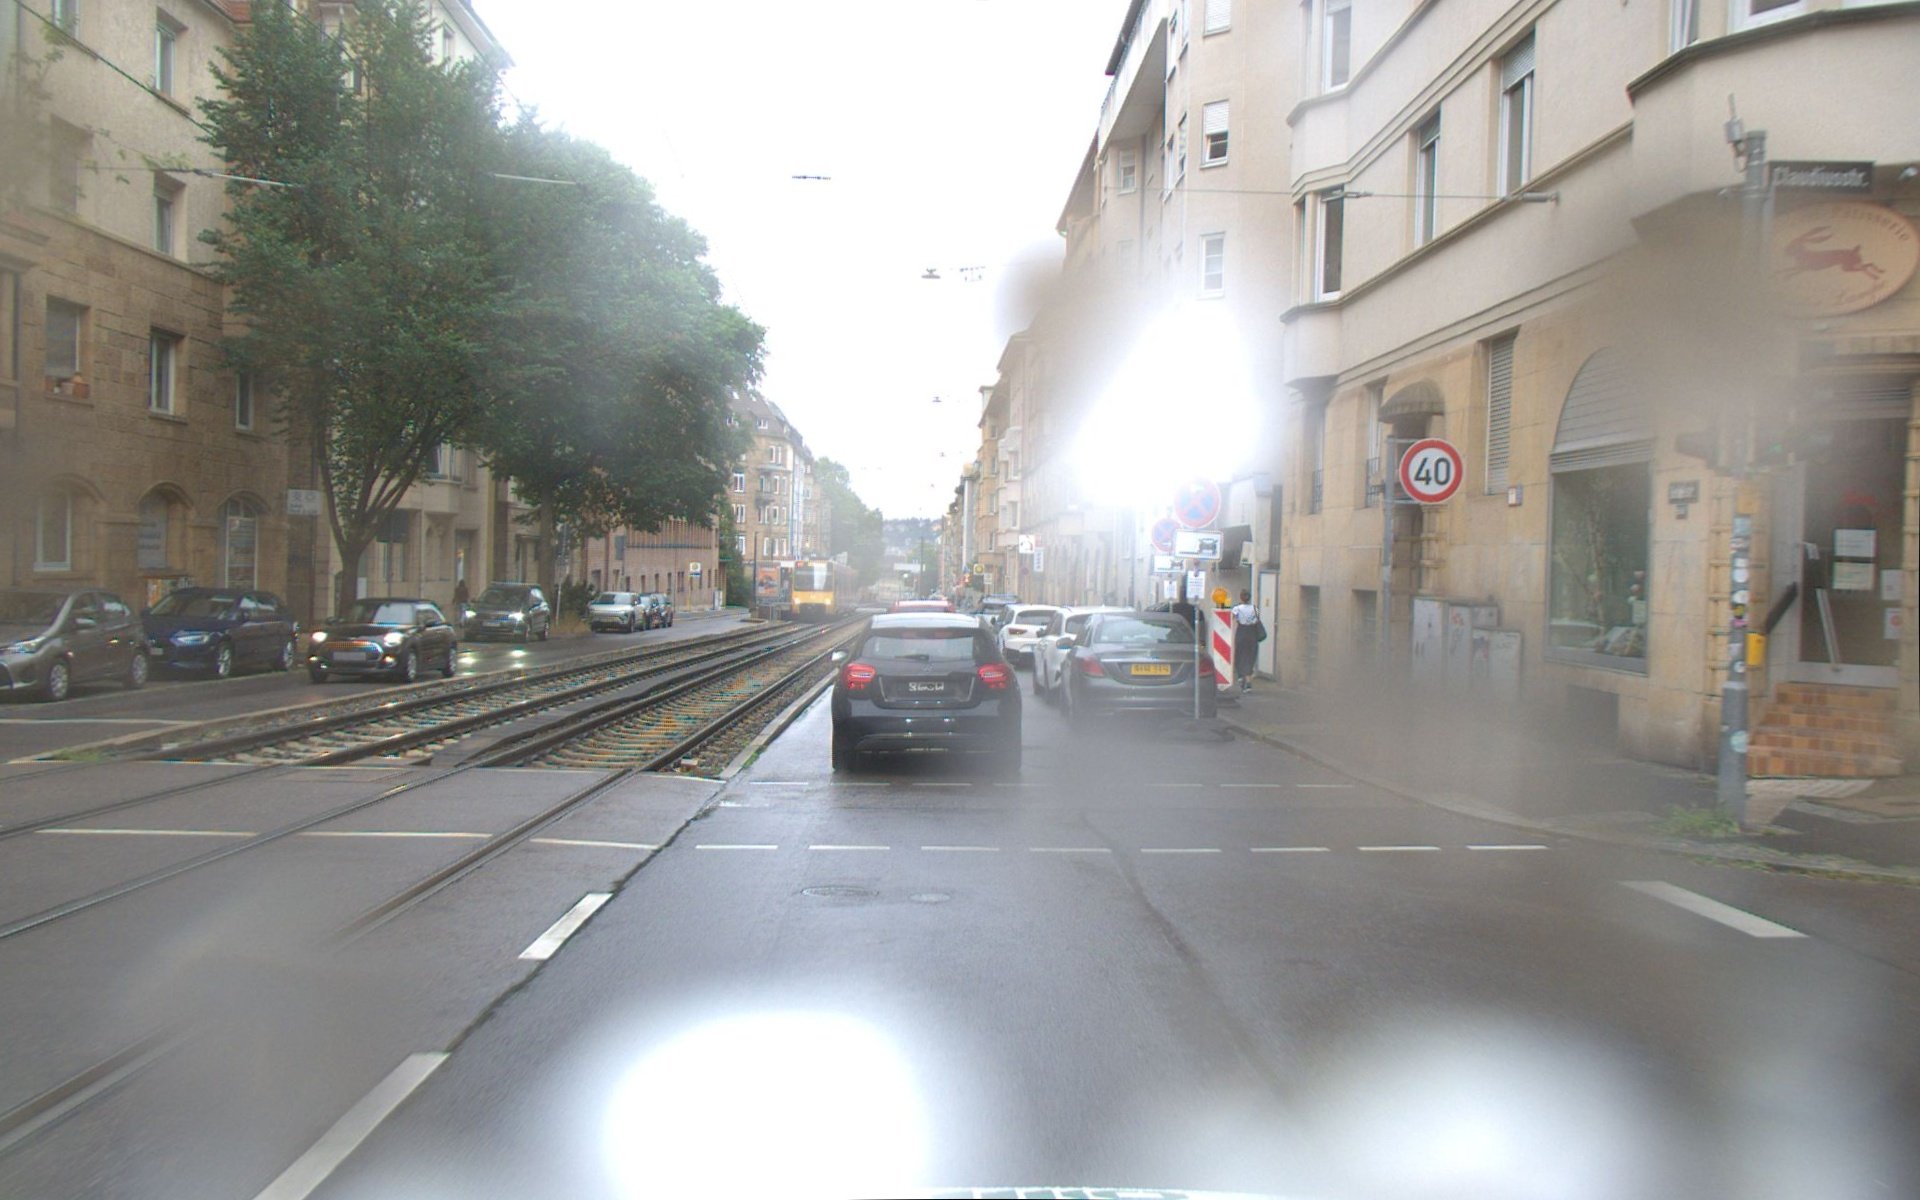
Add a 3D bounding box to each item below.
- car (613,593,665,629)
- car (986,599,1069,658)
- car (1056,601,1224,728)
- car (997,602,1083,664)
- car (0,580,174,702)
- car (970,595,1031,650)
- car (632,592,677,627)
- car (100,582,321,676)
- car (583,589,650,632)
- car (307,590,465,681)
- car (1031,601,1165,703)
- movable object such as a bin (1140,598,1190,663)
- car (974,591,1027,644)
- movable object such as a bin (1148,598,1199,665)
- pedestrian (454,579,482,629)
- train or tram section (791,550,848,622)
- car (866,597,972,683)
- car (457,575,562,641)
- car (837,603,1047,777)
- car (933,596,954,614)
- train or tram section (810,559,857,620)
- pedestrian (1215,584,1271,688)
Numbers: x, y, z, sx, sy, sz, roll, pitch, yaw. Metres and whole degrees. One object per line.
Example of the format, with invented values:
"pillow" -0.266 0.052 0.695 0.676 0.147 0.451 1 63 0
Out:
"car" -13.931 0.460 71.962 1.633 1.440 3.686 2 0 -2
"car" 1.761 0.767 44.434 1.795 1.493 4.372 1 -1 -3
"car" 2.202 0.769 21.345 1.675 1.435 4.817 0 -1 0
"car" 1.862 0.781 39.766 1.753 1.410 4.393 1 -1 -1
"car" -12.756 0.540 23.150 1.656 1.556 4.173 1 -1 -3
"car" 1.265 0.704 52.346 1.803 1.636 4.760 0 -1 1
"car" -13.966 0.419 75.726 1.540 1.492 3.043 2 0 -3
"car" -12.835 0.493 28.706 1.745 1.485 4.975 1 -1 -3
"car" -13.856 0.396 66.906 1.922 1.633 4.327 2 0 -2
"car" -9.986 0.578 29.032 1.620 1.488 3.732 0 0 -3
"car" 2.135 0.796 26.710 1.677 1.493 4.772 1 -1 -1
"movable object such as a bin" 4.836 0.724 39.118 0.997 1.494 1.322 1 -1 -2
"car" 1.396 0.624 58.410 1.742 1.780 4.547 0 -1 0
"movable object such as a bin" 4.845 0.705 37.622 0.960 1.494 1.272 1 -1 -2
"pedestrian" -16.788 0.138 56.429 0.713 1.692 0.770 1 0 -2
"train or tram section" -8.658 -0.798 103.694 2.690 4.133 17.207 0 0 -2
"car" -0.808 0.765 33.288 1.953 1.552 4.244 2 0 -1
"car" -13.453 0.209 49.647 1.914 1.772 4.776 4 0 -3
"car" -0.187 0.790 16.224 1.797 1.478 3.900 1 0 -1
"car" -1.499 0.496 151.065 1.848 1.552 4.245 2 0 1
"train or tram section" -9.096 -0.739 120.177 2.690 4.133 15.654 0 0 -2
"pedestrian" 4.741 0.597 27.709 0.788 1.717 0.754 1 -1 -2
